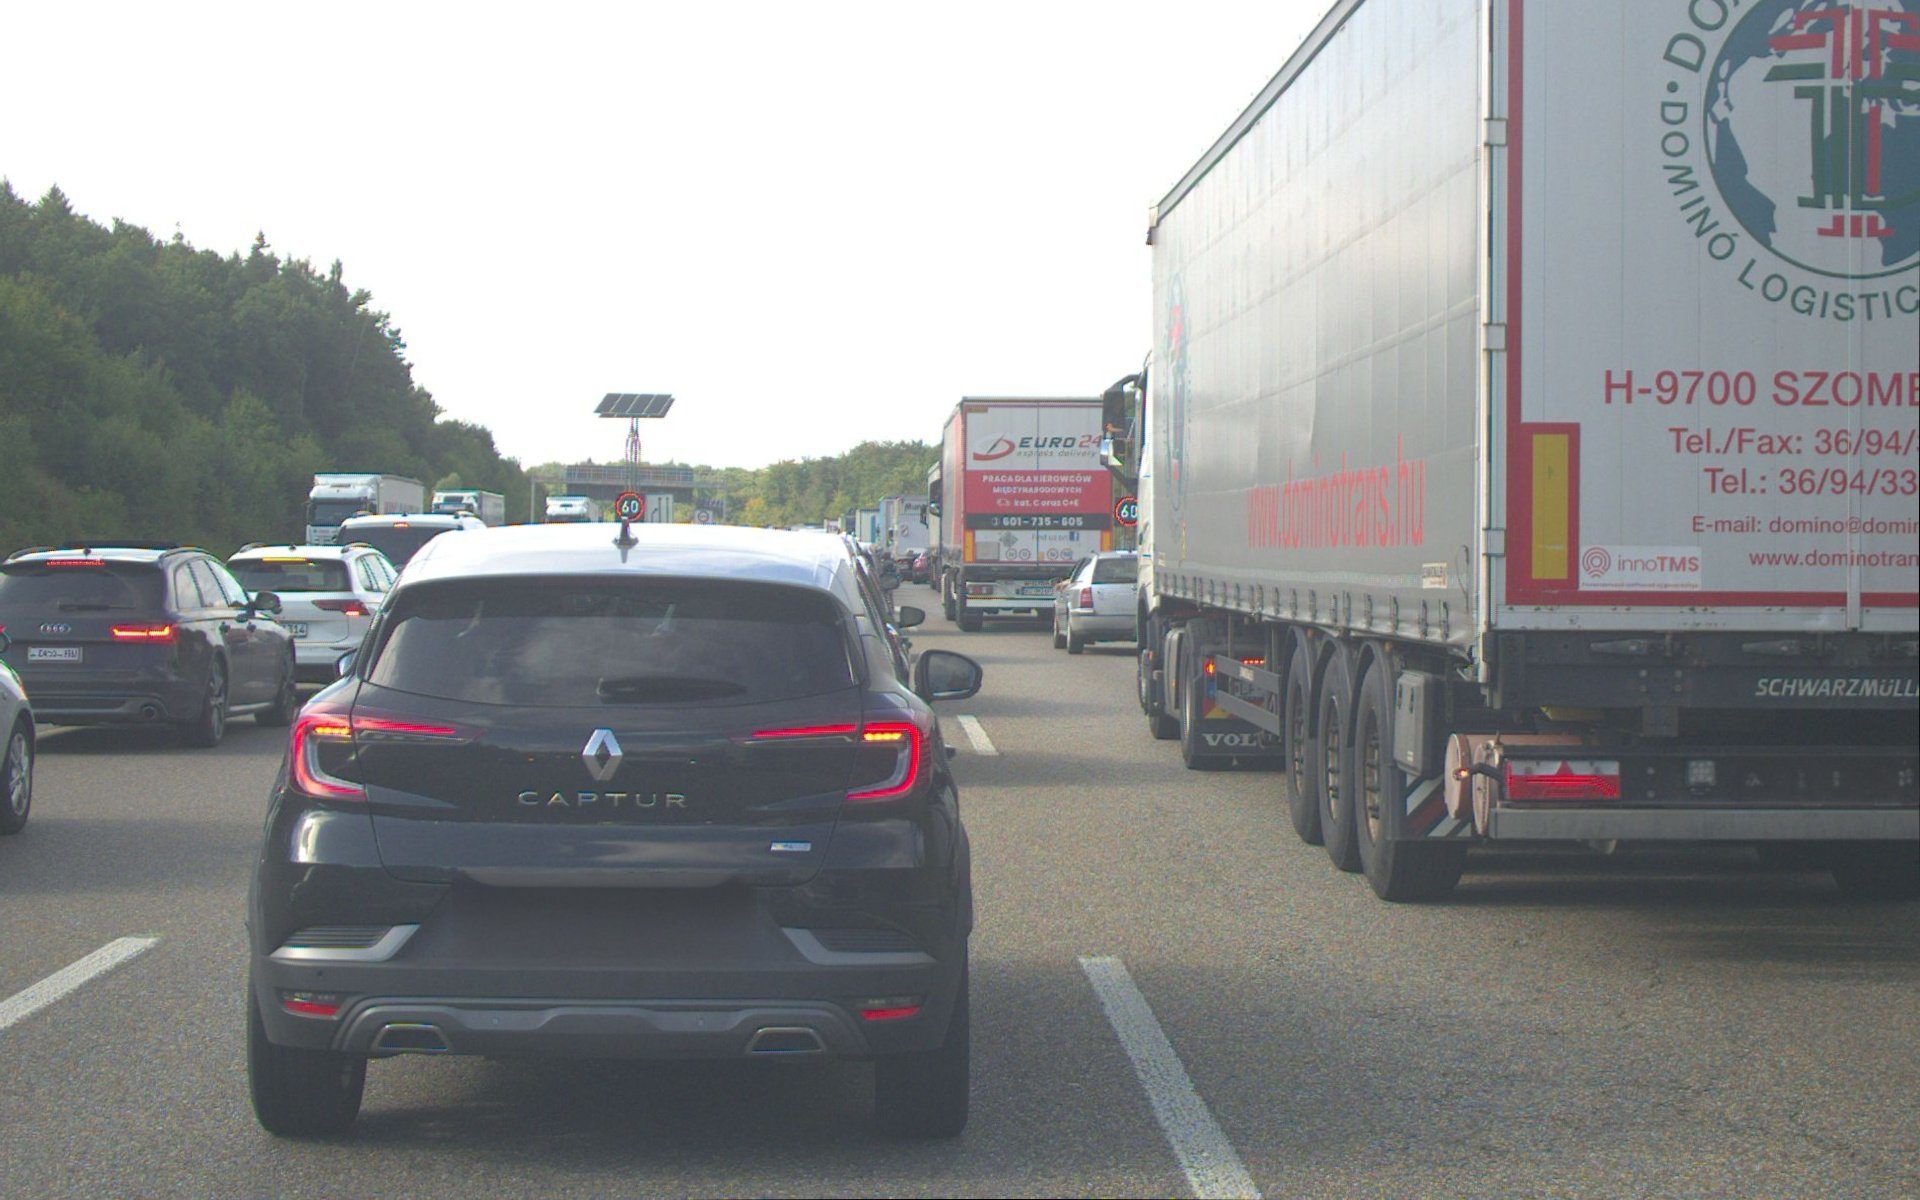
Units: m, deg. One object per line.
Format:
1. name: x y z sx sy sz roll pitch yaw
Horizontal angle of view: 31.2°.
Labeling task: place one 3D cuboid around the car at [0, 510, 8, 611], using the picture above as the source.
1. car: -17.147 -0.645 56.596 1.852 1.706 4.324 1 1 -2

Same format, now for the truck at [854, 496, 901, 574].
1. truck: -5.933 -4.634 248.644 3.166 5.486 12.738 1 1 -1

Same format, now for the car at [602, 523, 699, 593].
1. car: -7.330 -1.004 81.764 1.993 1.607 4.000 1 1 -1

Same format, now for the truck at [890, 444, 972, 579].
1. truck: -1.170 -3.666 147.166 3.166 5.486 12.737 1 1 1

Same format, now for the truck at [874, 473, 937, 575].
1. truck: -2.863 -3.955 181.730 3.166 5.142 12.738 1 1 -1

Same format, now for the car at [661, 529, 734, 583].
1. car: -8.035 -1.364 105.515 1.993 1.607 4.000 1 1 -1

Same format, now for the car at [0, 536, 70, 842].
1. car: -5.470 0.446 15.902 1.747 1.460 4.041 0 1 -1

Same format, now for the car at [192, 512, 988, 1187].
1. car: -0.841 0.546 9.933 1.804 1.547 4.000 0 1 1

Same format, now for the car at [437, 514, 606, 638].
1. car: -6.050 -0.338 47.814 1.855 1.635 3.926 1 1 0

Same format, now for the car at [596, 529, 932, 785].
1. car: -1.210 0.322 22.644 1.993 1.509 4.000 1 1 -1

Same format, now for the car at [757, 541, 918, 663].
1. car: -1.574 0.005 45.098 1.993 1.509 4.000 1 1 -1

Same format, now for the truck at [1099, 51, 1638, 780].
1. truck: 2.747 -1.233 25.064 2.997 4.651 5.940 1 1 -2

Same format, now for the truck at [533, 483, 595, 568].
1. truck: -24.169 -4.522 209.958 3.088 5.083 7.142 1 0 -2

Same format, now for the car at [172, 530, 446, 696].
1. car: -6.096 0.094 32.653 1.804 1.456 4.309 1 1 0

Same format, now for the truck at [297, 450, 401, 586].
1. truck: -24.333 -3.231 137.224 3.039 5.235 6.884 1 0 -2

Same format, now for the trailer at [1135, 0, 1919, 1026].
1. trailer: 2.979 -1.075 17.720 3.002 4.645 13.291 1 1 -2

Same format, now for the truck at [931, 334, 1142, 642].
1. truck: 1.215 -1.908 63.130 3.365 5.027 12.738 1 1 -1

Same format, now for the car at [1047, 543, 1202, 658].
1. car: 2.277 -0.013 48.487 1.804 1.527 3.926 1 1 -2

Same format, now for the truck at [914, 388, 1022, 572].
1. truck: 0.171 -3.688 110.261 3.166 5.486 12.738 1 1 -1

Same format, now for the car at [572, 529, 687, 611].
1. car: -6.718 -0.610 70.247 1.993 1.607 4.000 1 1 -1

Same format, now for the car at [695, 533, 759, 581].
1. car: -8.050 -1.499 118.855 1.993 1.607 4.000 1 1 -1

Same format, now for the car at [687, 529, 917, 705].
1. car: -1.421 0.130 32.131 1.993 1.509 4.000 1 1 -1

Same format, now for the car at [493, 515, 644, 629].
1. car: -6.170 -0.454 54.598 1.993 1.716 4.000 1 1 -1

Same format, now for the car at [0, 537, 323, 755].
1. car: -6.112 0.273 25.838 1.843 1.451 4.748 1 1 -1

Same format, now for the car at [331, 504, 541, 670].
1. car: -5.990 -0.164 39.756 1.911 1.783 4.418 1 1 -2
